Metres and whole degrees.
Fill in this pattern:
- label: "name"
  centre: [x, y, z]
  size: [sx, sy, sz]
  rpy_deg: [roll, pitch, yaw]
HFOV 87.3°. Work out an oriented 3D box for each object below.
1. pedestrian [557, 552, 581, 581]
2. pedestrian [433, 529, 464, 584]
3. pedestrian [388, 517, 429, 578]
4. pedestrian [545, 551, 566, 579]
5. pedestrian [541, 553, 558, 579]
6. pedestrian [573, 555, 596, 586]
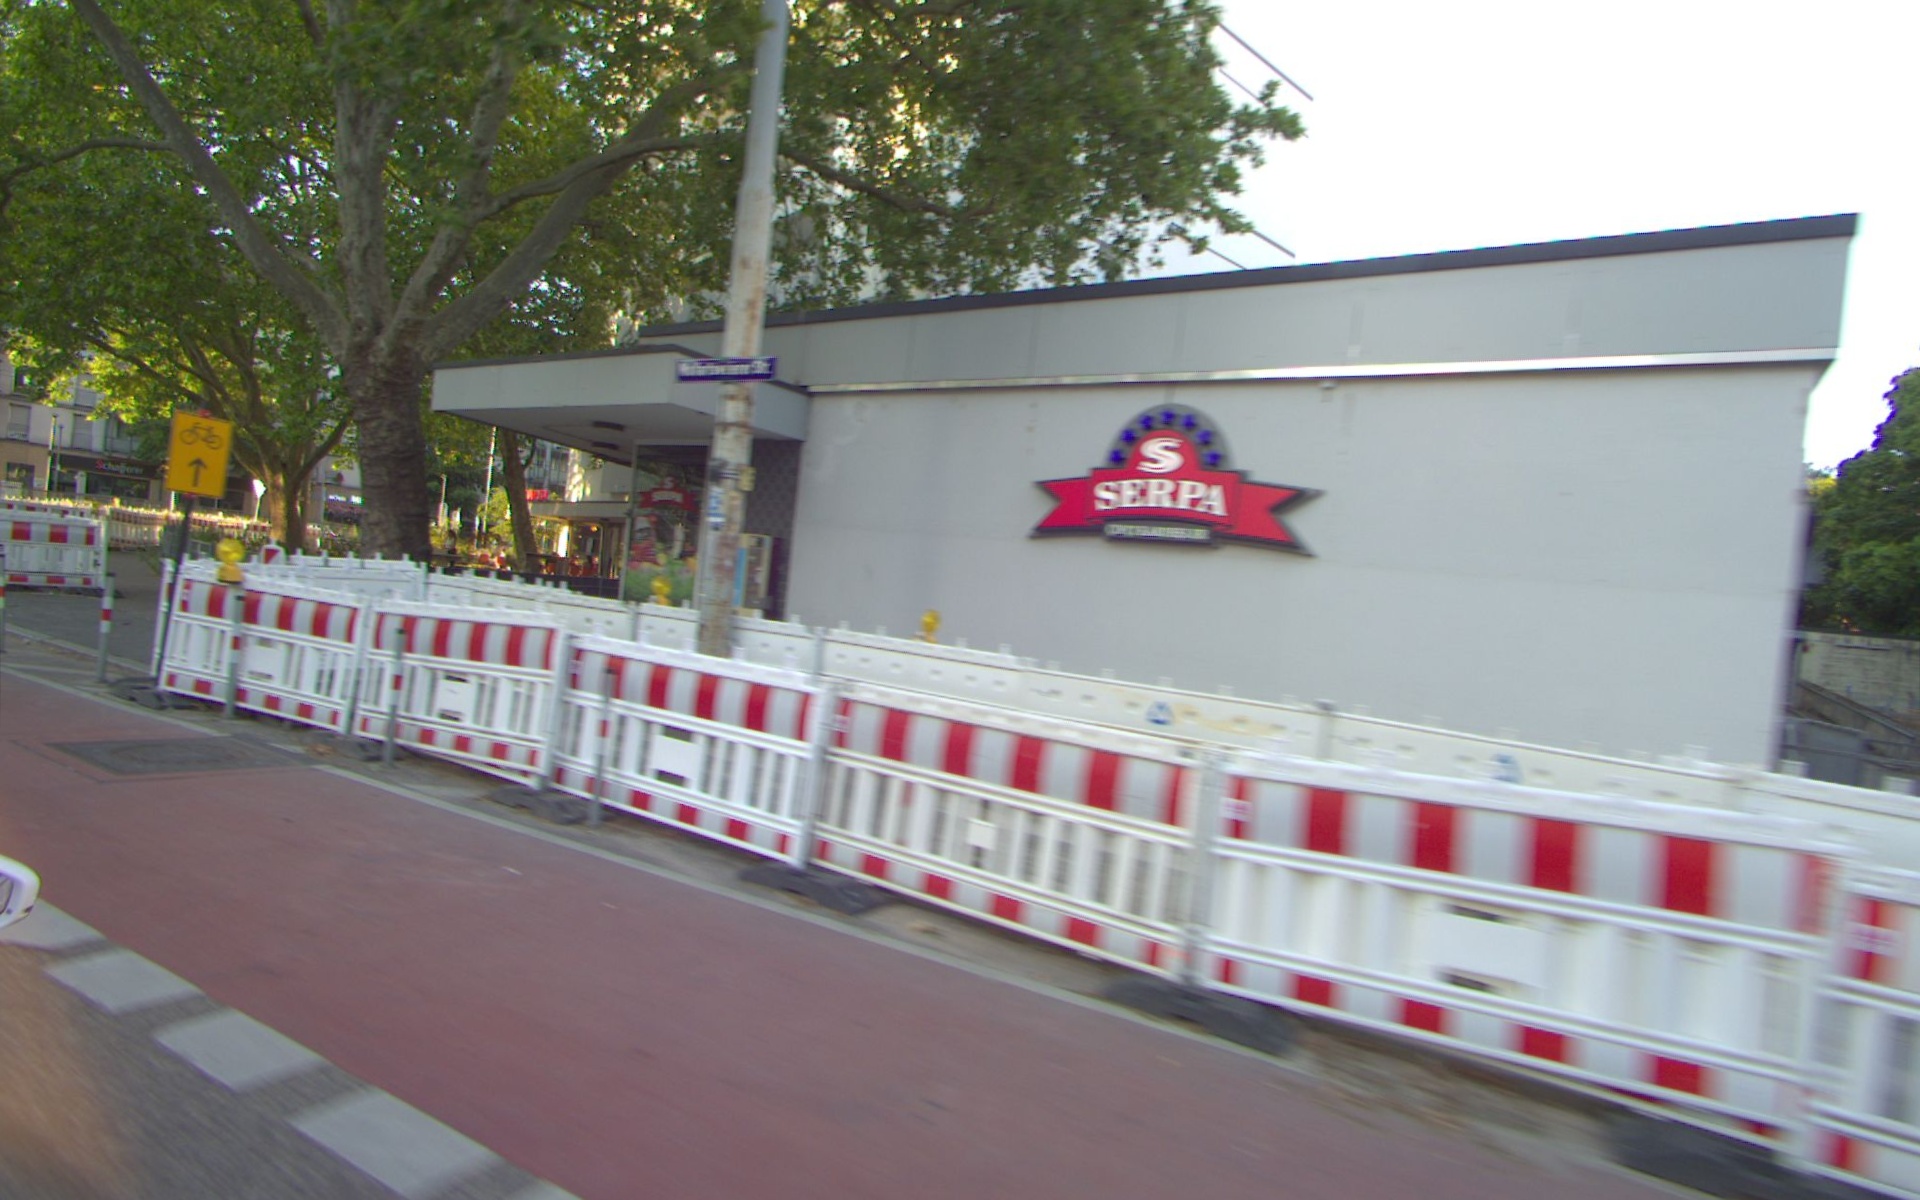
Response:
- label: "pedestrian"
  centre: [-16.839, -1.445, 43.302]
  size: [0.666, 1.150, 0.618]
  rpy_deg: [6, 1, -44]
- label: "pedestrian"
  centre: [-17.426, -1.485, 34.273]
  size: [0.711, 1.780, 0.656]
  rpy_deg: [6, 1, -37]
- label: "pedestrian"
  centre: [-17.144, -1.616, 31.276]
  size: [0.704, 1.780, 0.663]
  rpy_deg: [7, 1, 13]
- label: "pedestrian"
  centre: [-17.930, -1.534, 44.620]
  size: [0.597, 1.143, 0.625]
  rpy_deg: [6, 1, -5]
- label: "pedestrian"
  centre: [-17.381, -1.430, 42.600]
  size: [0.576, 1.041, 0.652]
  rpy_deg: [6, 1, -23]
- label: "pedestrian"
  centre: [-15.437, -1.210, 41.386]
  size: [0.538, 1.193, 0.558]
  rpy_deg: [7, 1, 16]
